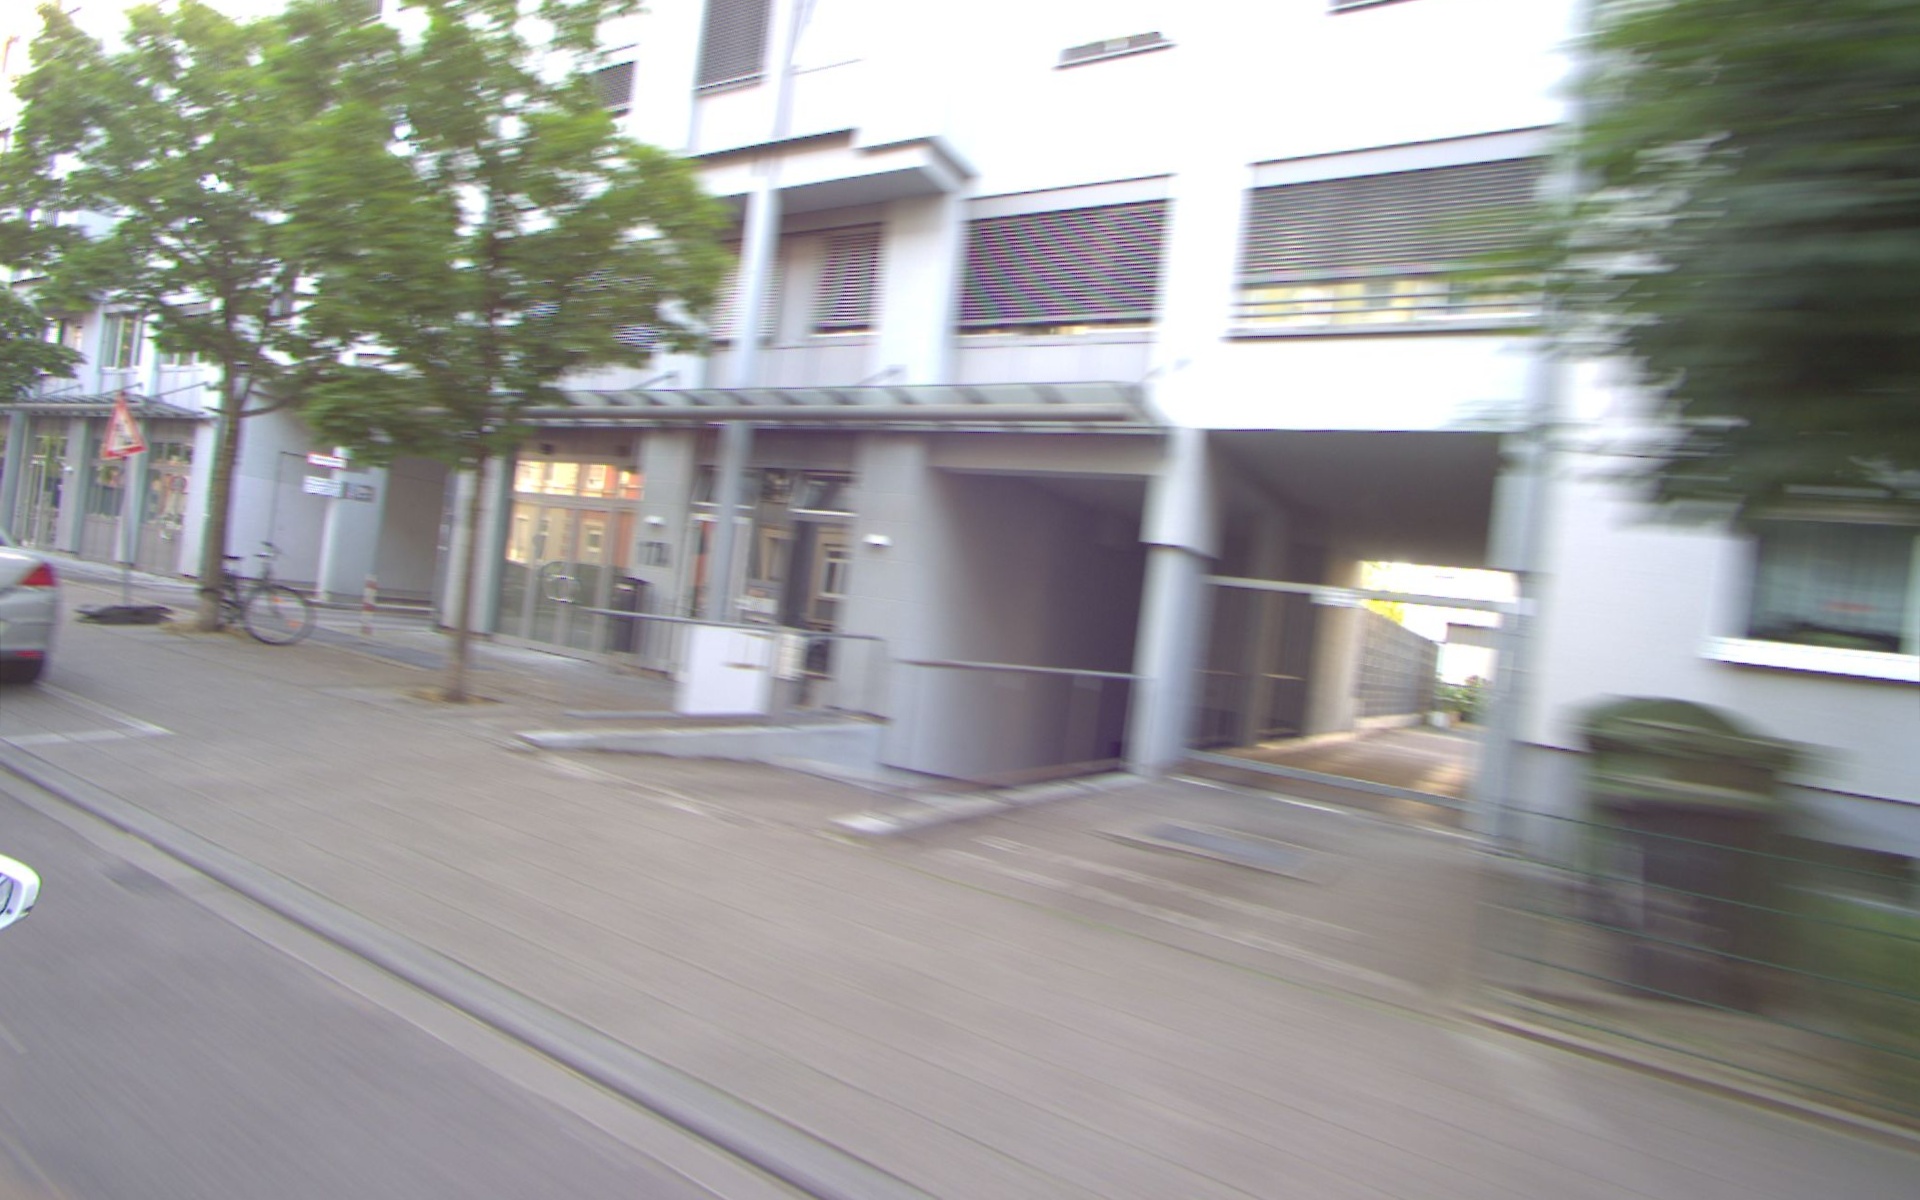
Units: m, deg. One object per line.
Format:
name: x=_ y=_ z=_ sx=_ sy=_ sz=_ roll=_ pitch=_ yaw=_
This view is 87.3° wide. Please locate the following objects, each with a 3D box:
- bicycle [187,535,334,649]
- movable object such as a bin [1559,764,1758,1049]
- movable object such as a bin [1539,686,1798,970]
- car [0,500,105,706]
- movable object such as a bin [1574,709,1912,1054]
bicycle: x=-8.519 y=-0.103 z=12.243 sx=1.708 sy=1.183 sz=0.521 roll=7 pitch=1 yaw=21
movable object such as a bin: x=3.226 y=1.378 z=4.703 sx=0.615 sy=1.084 sz=0.528 roll=7 pitch=1 yaw=31
movable object such as a bin: x=4.493 y=1.361 z=6.524 sx=1.120 sy=1.454 sz=1.263 roll=7 pitch=1 yaw=31
car: x=-8.792 y=-0.191 z=7.977 sx=4.272 sy=1.447 sz=1.765 roll=7 pitch=1 yaw=31
movable object such as a bin: x=3.986 y=1.343 z=5.304 sx=1.120 sy=1.337 sz=1.263 roll=7 pitch=0 yaw=31
